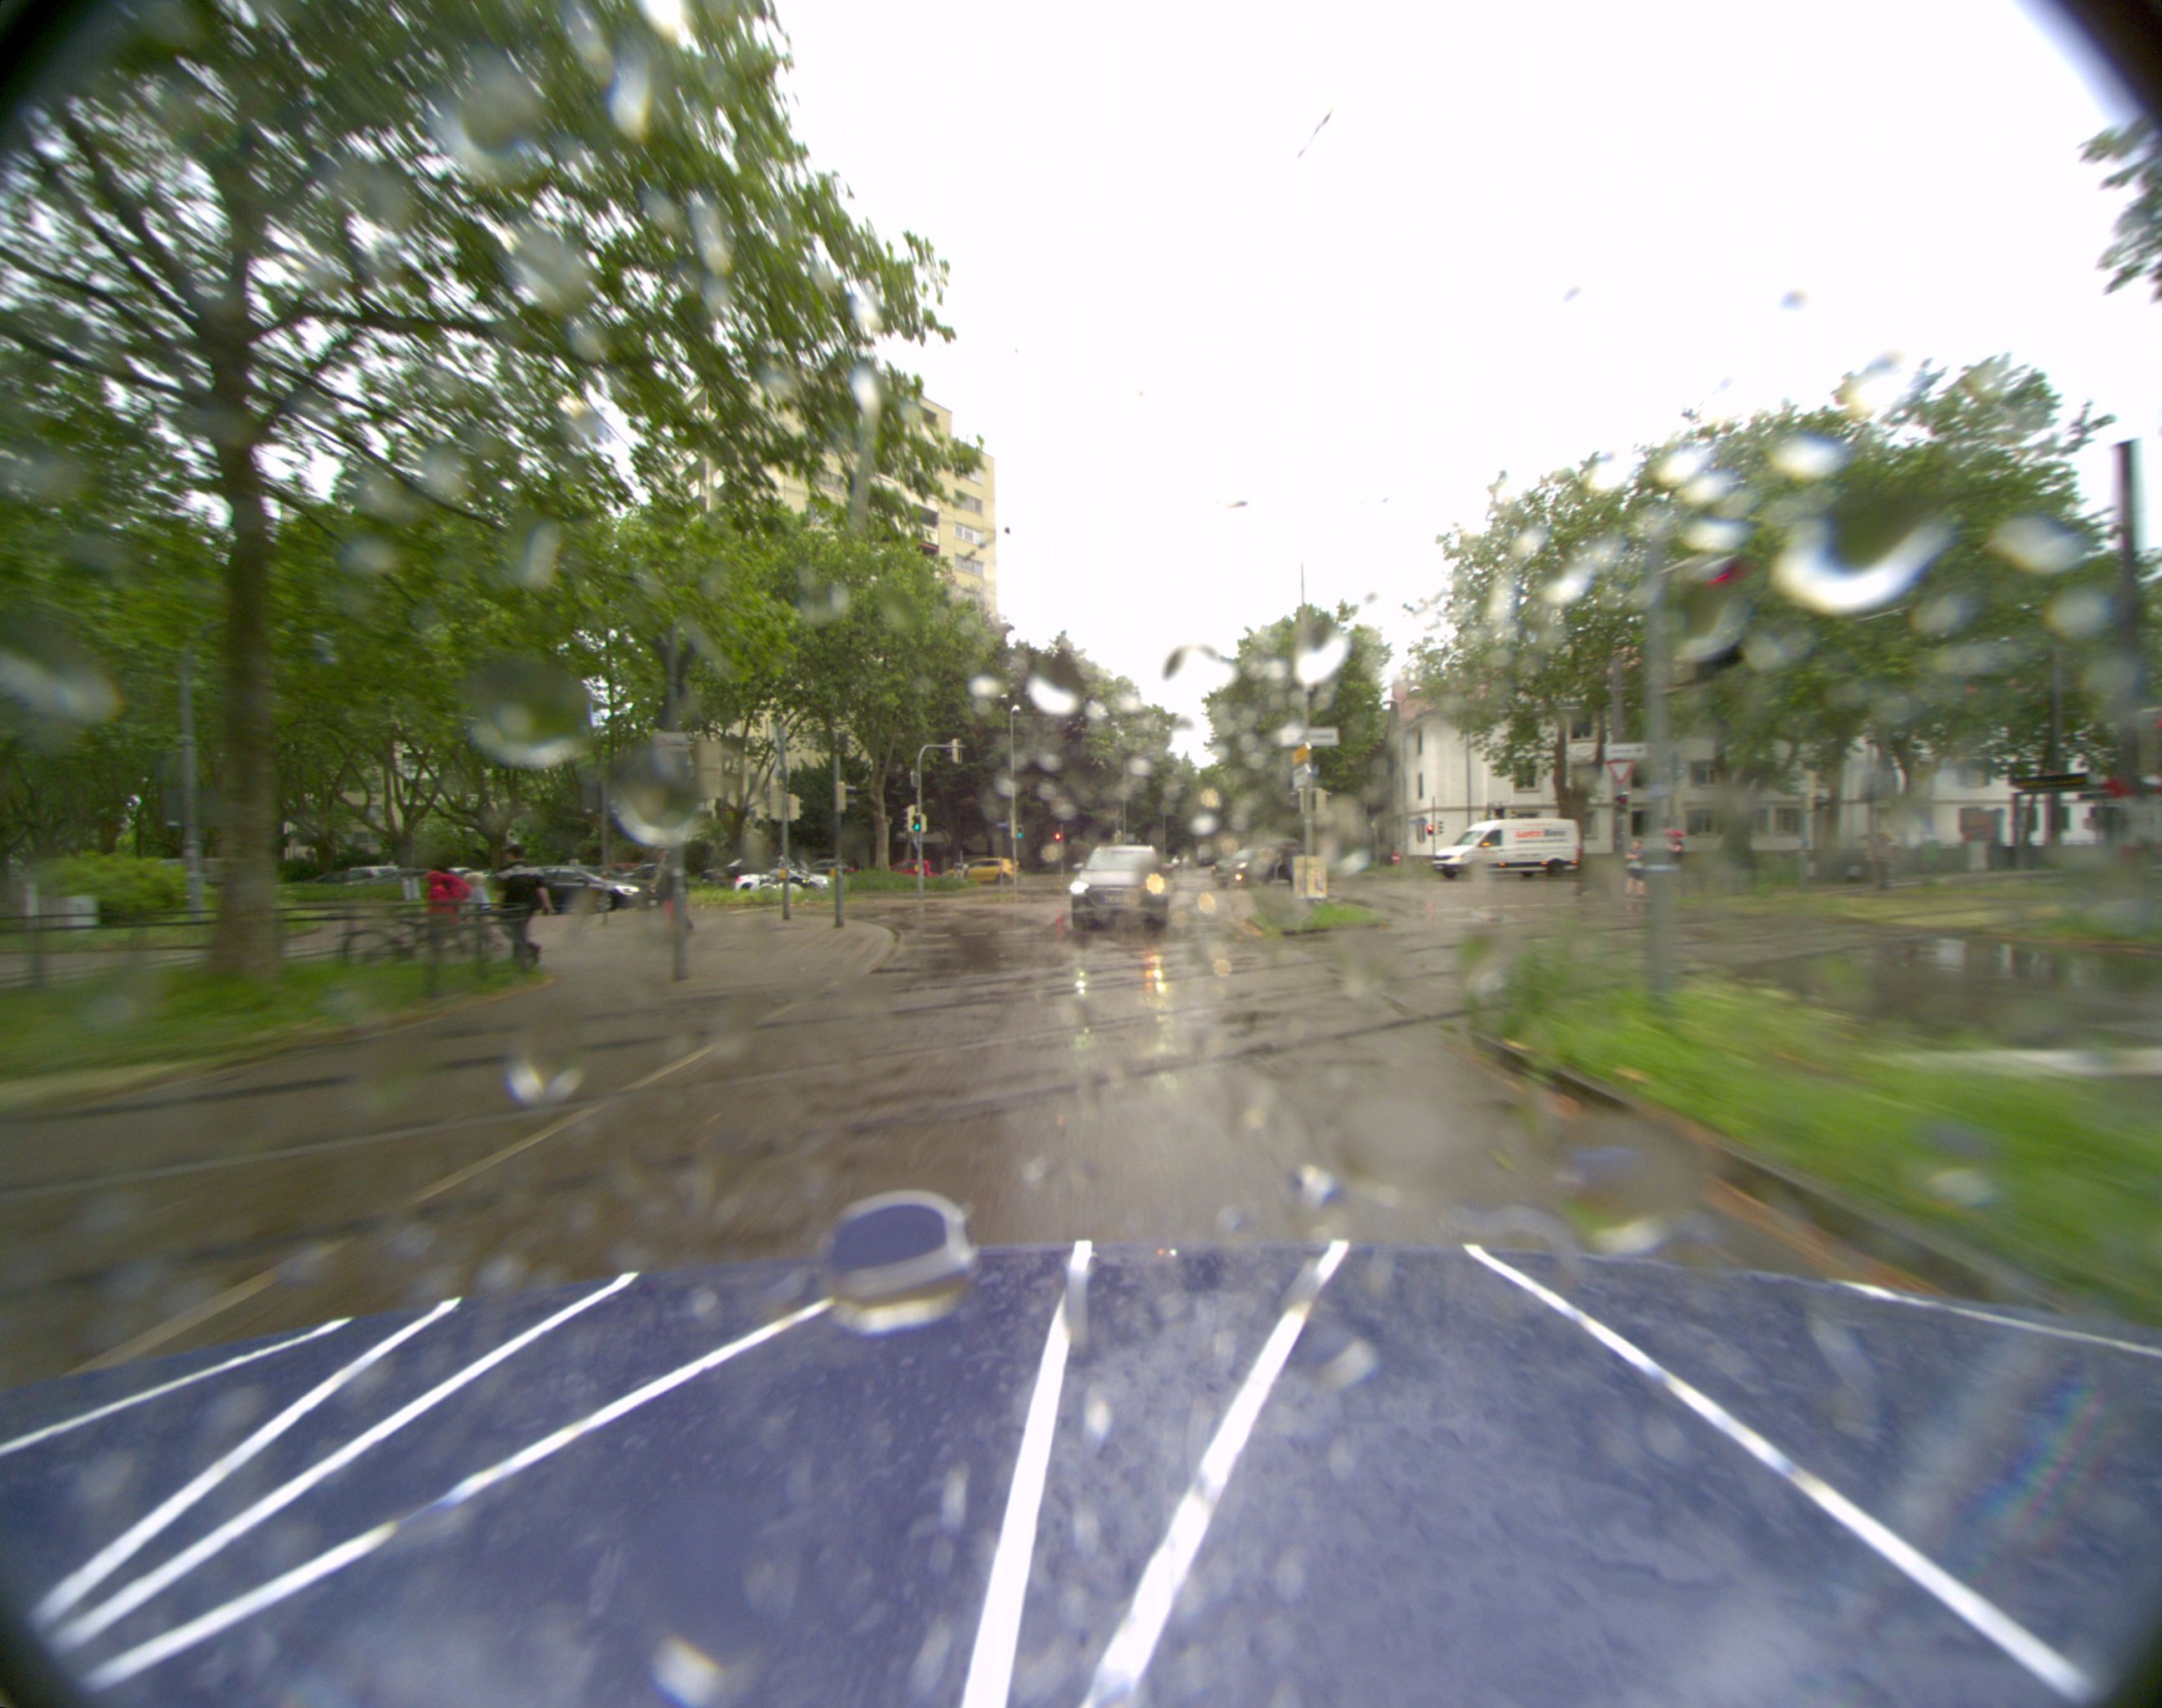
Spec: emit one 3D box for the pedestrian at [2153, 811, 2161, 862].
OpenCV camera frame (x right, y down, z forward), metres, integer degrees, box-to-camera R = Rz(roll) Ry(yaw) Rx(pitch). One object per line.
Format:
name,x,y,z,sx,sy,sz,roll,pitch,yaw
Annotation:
pedestrian,39.443,-0.633,27.340,0.851,1.815,0.858,-1,1,-44

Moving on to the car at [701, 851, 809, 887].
car,-16.213,0.716,38.058,1.870,1.654,4.612,-1,0,36

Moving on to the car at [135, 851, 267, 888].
car,-62.058,1.054,53.738,5.613,2.387,2.229,-2,1,-29

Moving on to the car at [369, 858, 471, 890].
car,-37.754,1.123,43.448,1.994,1.645,4.008,-1,1,37

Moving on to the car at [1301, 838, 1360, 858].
car,21.501,-0.532,65.576,4.663,1.680,2.035,0,1,14

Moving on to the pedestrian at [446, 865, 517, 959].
pedestrian,-10.290,0.977,13.062,0.762,1.539,0.691,-1,1,-21

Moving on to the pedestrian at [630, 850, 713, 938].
pedestrian,-8.160,0.769,15.170,1.053,1.677,0.998,0,1,25

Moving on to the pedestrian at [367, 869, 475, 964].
pedestrian,-11.109,1.023,12.833,1.065,1.517,0.877,-1,0,-12

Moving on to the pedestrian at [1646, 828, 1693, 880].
pedestrian,19.305,0.007,24.937,0.861,1.678,0.848,-1,1,-14

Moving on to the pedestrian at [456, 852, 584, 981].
pedestrian,-8.286,0.877,11.245,1.233,1.778,1.040,-1,1,29

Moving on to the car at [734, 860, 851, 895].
car,-12.194,0.981,32.308,4.168,1.268,1.903,-2,0,2

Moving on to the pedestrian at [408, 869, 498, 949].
pedestrian,-11.277,0.964,13.673,1.010,1.373,0.673,-1,1,-8

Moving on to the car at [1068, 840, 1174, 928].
car,0.993,0.540,16.135,1.808,1.611,4.139,-1,1,9

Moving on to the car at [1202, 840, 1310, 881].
car,6.762,0.217,29.209,4.007,1.435,1.849,-1,1,-36

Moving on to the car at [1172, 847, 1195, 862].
car,10.461,0.070,77.300,1.819,1.451,4.277,-2,0,15

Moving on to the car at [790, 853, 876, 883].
car,-14.835,0.830,45.518,4.448,1.598,1.942,-2,0,12

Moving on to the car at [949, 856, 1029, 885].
car,-4.896,0.862,40.854,3.997,1.360,2.000,-2,0,0

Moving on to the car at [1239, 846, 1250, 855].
car,31.915,-0.684,148.274,1.997,1.795,4.353,-2,0,10

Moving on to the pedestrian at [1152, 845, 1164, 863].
pedestrian,6.925,0.003,68.315,0.942,1.651,0.929,0,1,17

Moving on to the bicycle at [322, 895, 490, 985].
bicycle,-8.910,1.121,10.075,1.619,1.070,0.446,-2,1,-12

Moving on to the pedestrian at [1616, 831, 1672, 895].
pedestrian,15.032,0.230,20.293,0.849,1.678,0.859,-1,1,-16

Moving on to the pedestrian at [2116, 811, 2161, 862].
pedestrian,38.307,-0.624,27.368,0.859,1.776,0.849,0,1,10

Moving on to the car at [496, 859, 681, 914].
car,-14.420,0.931,22.408,4.173,1.452,1.995,-1,0,4

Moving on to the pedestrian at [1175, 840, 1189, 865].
pedestrian,8.261,-0.104,62.073,0.942,2.050,1.082,0,1,17

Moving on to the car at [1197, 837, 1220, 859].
car,15.570,-0.724,92.543,2.398,2.461,5.698,0,0,14

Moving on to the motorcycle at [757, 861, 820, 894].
motorcycle,-11.393,0.903,29.592,2.072,1.208,0.881,-2,1,7

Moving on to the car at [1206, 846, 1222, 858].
car,19.099,-0.284,109.035,1.996,1.530,4.004,-2,0,13

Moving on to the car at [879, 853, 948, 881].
car,-9.846,0.777,44.712,3.456,1.516,1.843,-2,0,9

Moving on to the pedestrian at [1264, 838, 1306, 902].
pedestrian,5.100,0.386,19.022,0.863,1.572,0.642,-1,1,-4

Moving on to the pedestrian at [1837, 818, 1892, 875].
pedestrian,23.833,-0.223,23.115,0.849,1.678,0.859,-1,1,-16

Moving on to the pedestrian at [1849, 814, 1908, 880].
pedestrian,22.783,-0.200,21.722,0.849,1.821,0.859,0,1,-16

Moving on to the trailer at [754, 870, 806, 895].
trailer,-11.309,1.067,28.594,1.480,0.837,1.028,-2,0,8

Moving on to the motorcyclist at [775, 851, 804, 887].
motorcyclist,-11.337,0.579,29.568,0.754,1.343,0.758,-2,1,6

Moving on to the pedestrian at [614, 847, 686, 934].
pedestrian,-8.985,0.742,15.862,0.992,1.771,0.813,0,1,14

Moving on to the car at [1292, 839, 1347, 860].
car,21.792,-0.404,69.515,4.663,1.863,2.035,0,1,14

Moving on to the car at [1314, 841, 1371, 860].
car,20.709,-0.273,60.320,3.994,1.346,1.798,-2,0,10

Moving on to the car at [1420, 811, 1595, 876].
car,18.520,-0.464,33.159,6.509,2.547,2.283,-2,1,-5
